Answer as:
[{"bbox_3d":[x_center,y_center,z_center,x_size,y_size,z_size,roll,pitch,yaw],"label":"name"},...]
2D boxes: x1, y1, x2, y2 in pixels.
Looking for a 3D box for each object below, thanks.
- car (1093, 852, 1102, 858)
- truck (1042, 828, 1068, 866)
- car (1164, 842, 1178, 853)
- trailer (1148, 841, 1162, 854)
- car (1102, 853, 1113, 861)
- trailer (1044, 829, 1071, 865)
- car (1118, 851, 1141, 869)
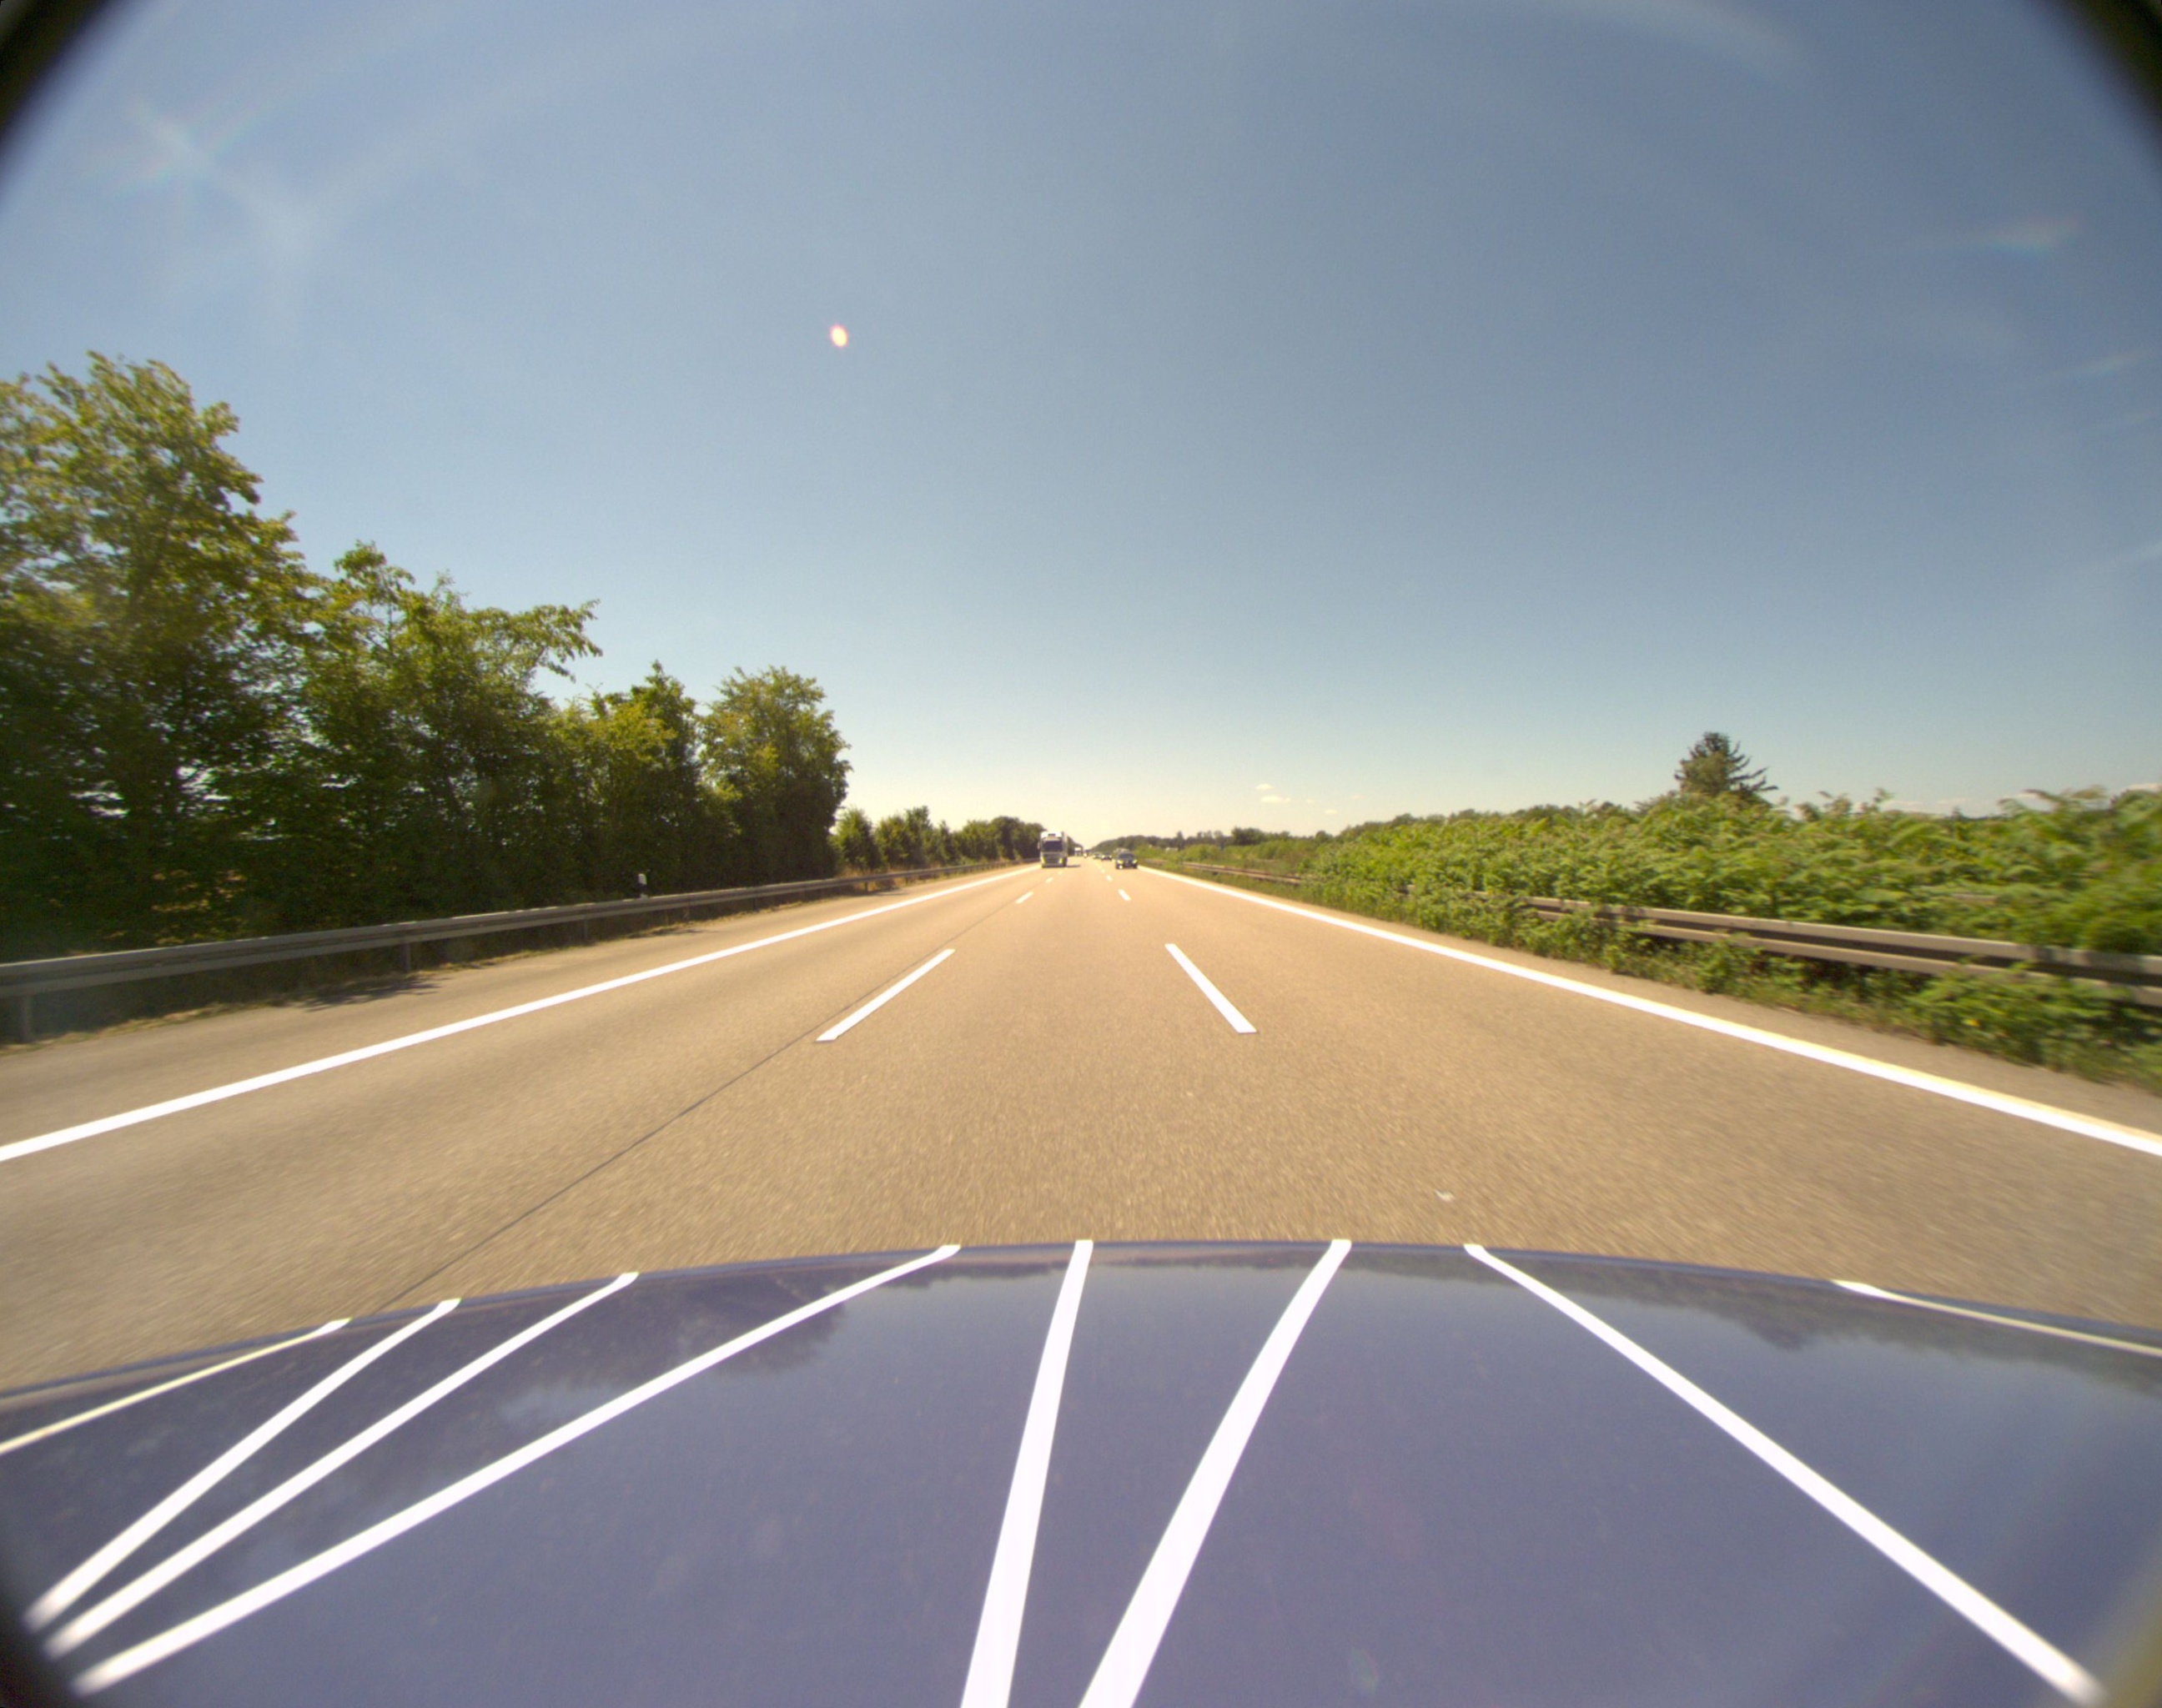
[{"bbox_3d":[3.819,0.194,175.774,1.811,1.417,4.000,-2,0,1],"label":"car"},{"bbox_3d":[-2.831,-0.760,85.782,2.476,4.039,6.319,-2,1,1],"label":"truck"},{"bbox_3d":[21.646,-1.541,183.092,2.476,2.693,5.519,-2,1,1],"label":"car"},{"bbox_3d":[22.582,-2.018,231.714,2.941,3.847,13.908,-2,0,0],"label":"trailer"},{"bbox_3d":[4.522,0.497,132.000,1.811,1.417,4.000,-2,0,1],"label":"car"},{"bbox_3d":[-2.747,-0.831,92.405,2.476,4.038,13.879,-2,0,1],"label":"trailer"},{"bbox_3d":[4.345,0.551,68.245,1.811,1.459,4.000,-2,0,1],"label":"car"}]
